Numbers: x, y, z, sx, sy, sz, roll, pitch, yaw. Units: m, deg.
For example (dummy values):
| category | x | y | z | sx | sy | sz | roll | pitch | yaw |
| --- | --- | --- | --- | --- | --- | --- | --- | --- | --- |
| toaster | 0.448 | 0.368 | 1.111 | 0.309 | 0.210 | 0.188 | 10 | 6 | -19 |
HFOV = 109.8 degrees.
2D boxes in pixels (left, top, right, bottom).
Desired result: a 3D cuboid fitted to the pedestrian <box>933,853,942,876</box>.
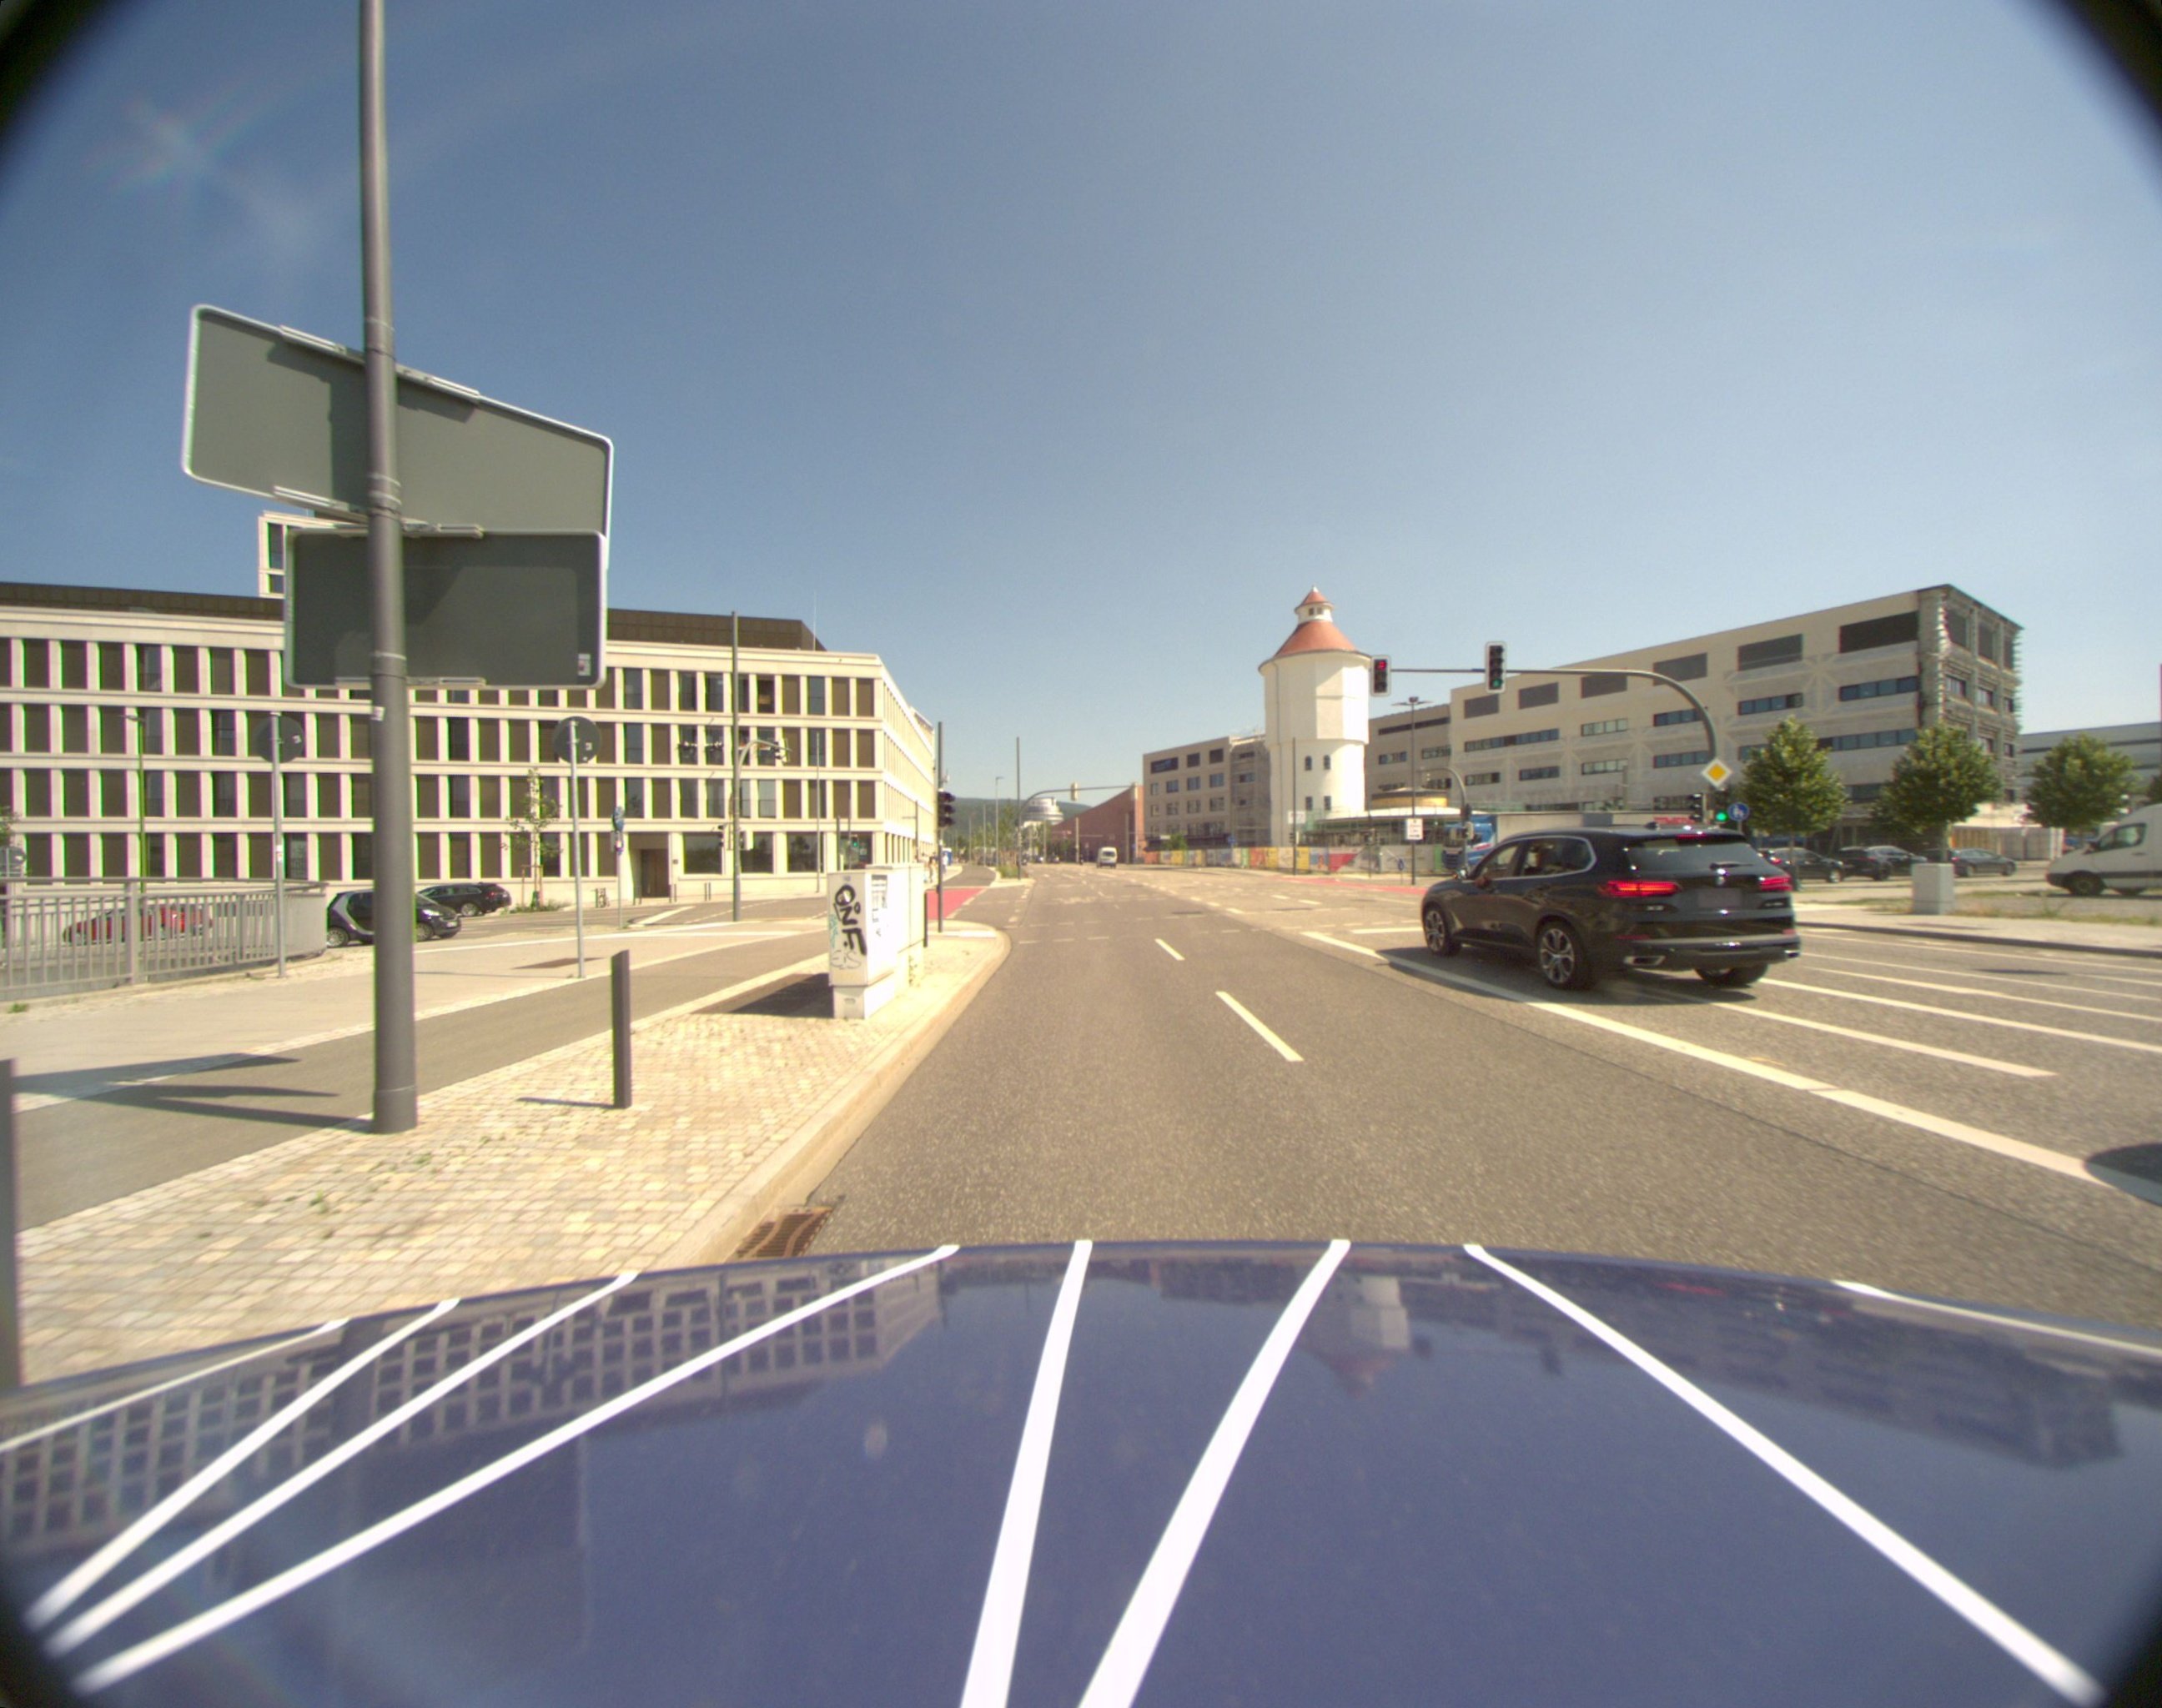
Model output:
| category | x | y | z | sx | sy | sz | roll | pitch | yaw |
| --- | --- | --- | --- | --- | --- | --- | --- | --- | --- |
| pedestrian | -11.000 | 0.817 | 58.310 | 0.578 | 1.730 | 0.996 | -1 | -1 | -6 |

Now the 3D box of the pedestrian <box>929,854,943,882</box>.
| category | x | y | z | sx | sy | sz | roll | pitch | yaw |
| --- | --- | --- | --- | --- | --- | --- | --- | --- | --- |
| pedestrian | -9.125 | 0.853 | 47.872 | 0.702 | 1.713 | 0.796 | -3 | 0 | -5 |

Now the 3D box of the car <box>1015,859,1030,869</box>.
| category | x | y | z | sx | sy | sz | roll | pitch | yaw |
| --- | --- | --- | --- | --- | --- | --- | --- | --- | --- |
| car | -9.611 | 1.682 | 124.430 | 1.785 | 1.552 | 3.827 | -3 | 0 | -16 |

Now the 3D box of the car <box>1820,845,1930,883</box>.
| category | x | y | z | sx | sy | sz | roll | pitch | yaw |
| --- | --- | --- | --- | --- | --- | --- | --- | --- | --- |
| car | 37.994 | 0.454 | 36.390 | 4.002 | 1.630 | 1.878 | -2 | 0 | -14 |

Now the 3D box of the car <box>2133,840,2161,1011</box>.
| category | x | y | z | sx | sy | sz | roll | pitch | yaw |
| --- | --- | --- | --- | --- | --- | --- | --- | --- | --- |
| car | 11.676 | 0.715 | 5.711 | 1.998 | 1.696 | 4.000 | 0 | 0 | 1 |

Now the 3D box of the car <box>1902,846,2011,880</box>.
| category | x | y | z | sx | sy | sz | roll | pitch | yaw |
| --- | --- | --- | --- | --- | --- | --- | --- | --- | --- |
| car | 43.553 | 0.452 | 37.832 | 3.904 | 1.521 | 1.879 | -2 | -2 | -13 |

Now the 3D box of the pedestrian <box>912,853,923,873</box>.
| category | x | y | z | sx | sy | sz | roll | pitch | yaw |
| --- | --- | --- | --- | --- | --- | --- | --- | --- | --- |
| pedestrian | -12.608 | 0.693 | 58.651 | 0.770 | 1.557 | 0.842 | 0 | 1 | -6 |

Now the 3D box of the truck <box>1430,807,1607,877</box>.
| category | x | y | z | sx | sy | sz | roll | pitch | yaw |
| --- | --- | --- | --- | --- | --- | --- | --- | --- | --- |
| truck | 29.025 | -0.873 | 50.448 | 10.986 | 4.044 | 3.297 | -3 | 2 | -15 |

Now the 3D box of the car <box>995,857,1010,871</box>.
| category | x | y | z | sx | sy | sz | roll | pitch | yaw |
| --- | --- | --- | --- | --- | --- | --- | --- | --- | --- |
| car | -10.066 | 1.268 | 97.799 | 1.811 | 1.500 | 3.996 | -3 | 2 | -6 |

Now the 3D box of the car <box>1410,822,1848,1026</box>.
| category | x | y | z | sx | sy | sz | roll | pitch | yaw |
| --- | --- | --- | --- | --- | --- | --- | --- | --- | --- |
| car | 6.000 | 0.656 | 9.255 | 1.944 | 1.778 | 4.656 | -2 | 0 | 1 |

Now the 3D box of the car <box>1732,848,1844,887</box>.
| category | x | y | z | sx | sy | sz | roll | pitch | yaw |
| --- | --- | --- | --- | --- | --- | --- | --- | --- | --- |
| car | 32.641 | 0.588 | 35.116 | 4.002 | 1.630 | 1.878 | -2 | 0 | -14 |

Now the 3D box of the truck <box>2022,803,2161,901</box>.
| category | x | y | z | sx | sy | sz | roll | pitch | yaw |
| --- | --- | --- | --- | --- | --- | --- | --- | --- | --- |
| truck | 30.149 | -0.068 | 20.289 | 2.174 | 2.639 | 5.938 | -1 | 0 | -13 |

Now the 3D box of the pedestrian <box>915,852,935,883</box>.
| category | x | y | z | sx | sy | sz | roll | pitch | yaw |
| --- | --- | --- | --- | --- | --- | --- | --- | --- | --- |
| pedestrian | -9.575 | 0.829 | 46.781 | 0.880 | 1.816 | 1.664 | -5 | 0 | -5 |

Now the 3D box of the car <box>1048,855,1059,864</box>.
| category | x | y | z | sx | sy | sz | roll | pitch | yaw |
| --- | --- | --- | --- | --- | --- | --- | --- | --- | --- |
| car | -5.329 | 1.030 | 145.691 | 1.803 | 1.581 | 3.967 | 0 | 1 | -8 |

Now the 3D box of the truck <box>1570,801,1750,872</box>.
| category | x | y | z | sx | sy | sz | roll | pitch | yaw |
| --- | --- | --- | --- | --- | --- | --- | --- | --- | --- |
| truck | 40.063 | -1.236 | 52.702 | 10.950 | 4.251 | 3.341 | -3 | 2 | -10 |

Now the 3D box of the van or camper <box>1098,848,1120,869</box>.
| category | x | y | z | sx | sy | sz | roll | pitch | yaw |
| --- | --- | --- | --- | --- | --- | --- | --- | --- | --- |
| van or camper | 3.426 | 0.508 | 94.046 | 2.159 | 2.400 | 5.678 | 0 | 1 | -5 |

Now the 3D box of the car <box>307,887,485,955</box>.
| category | x | y | z | sx | sy | sz | roll | pitch | yaw |
| --- | --- | --- | --- | --- | --- | --- | --- | --- | --- |
| car | -18.909 | 1.781 | 21.090 | 1.455 | 1.456 | 3.374 | -1 | 2 | 38 |

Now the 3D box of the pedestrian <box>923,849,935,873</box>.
| category | x | y | z | sx | sy | sz | roll | pitch | yaw |
| --- | --- | --- | --- | --- | --- | --- | --- | --- | --- |
| pedestrian | -11.773 | 0.533 | 58.987 | 0.827 | 1.773 | 0.926 | 0 | 1 | -6 |

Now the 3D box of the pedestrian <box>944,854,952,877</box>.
| category | x | y | z | sx | sy | sz | roll | pitch | yaw |
| --- | --- | --- | --- | --- | --- | --- | --- | --- | --- |
| pedestrian | -10.456 | 0.897 | 59.686 | 0.578 | 1.710 | 0.996 | -1 | 1 | -6 |
